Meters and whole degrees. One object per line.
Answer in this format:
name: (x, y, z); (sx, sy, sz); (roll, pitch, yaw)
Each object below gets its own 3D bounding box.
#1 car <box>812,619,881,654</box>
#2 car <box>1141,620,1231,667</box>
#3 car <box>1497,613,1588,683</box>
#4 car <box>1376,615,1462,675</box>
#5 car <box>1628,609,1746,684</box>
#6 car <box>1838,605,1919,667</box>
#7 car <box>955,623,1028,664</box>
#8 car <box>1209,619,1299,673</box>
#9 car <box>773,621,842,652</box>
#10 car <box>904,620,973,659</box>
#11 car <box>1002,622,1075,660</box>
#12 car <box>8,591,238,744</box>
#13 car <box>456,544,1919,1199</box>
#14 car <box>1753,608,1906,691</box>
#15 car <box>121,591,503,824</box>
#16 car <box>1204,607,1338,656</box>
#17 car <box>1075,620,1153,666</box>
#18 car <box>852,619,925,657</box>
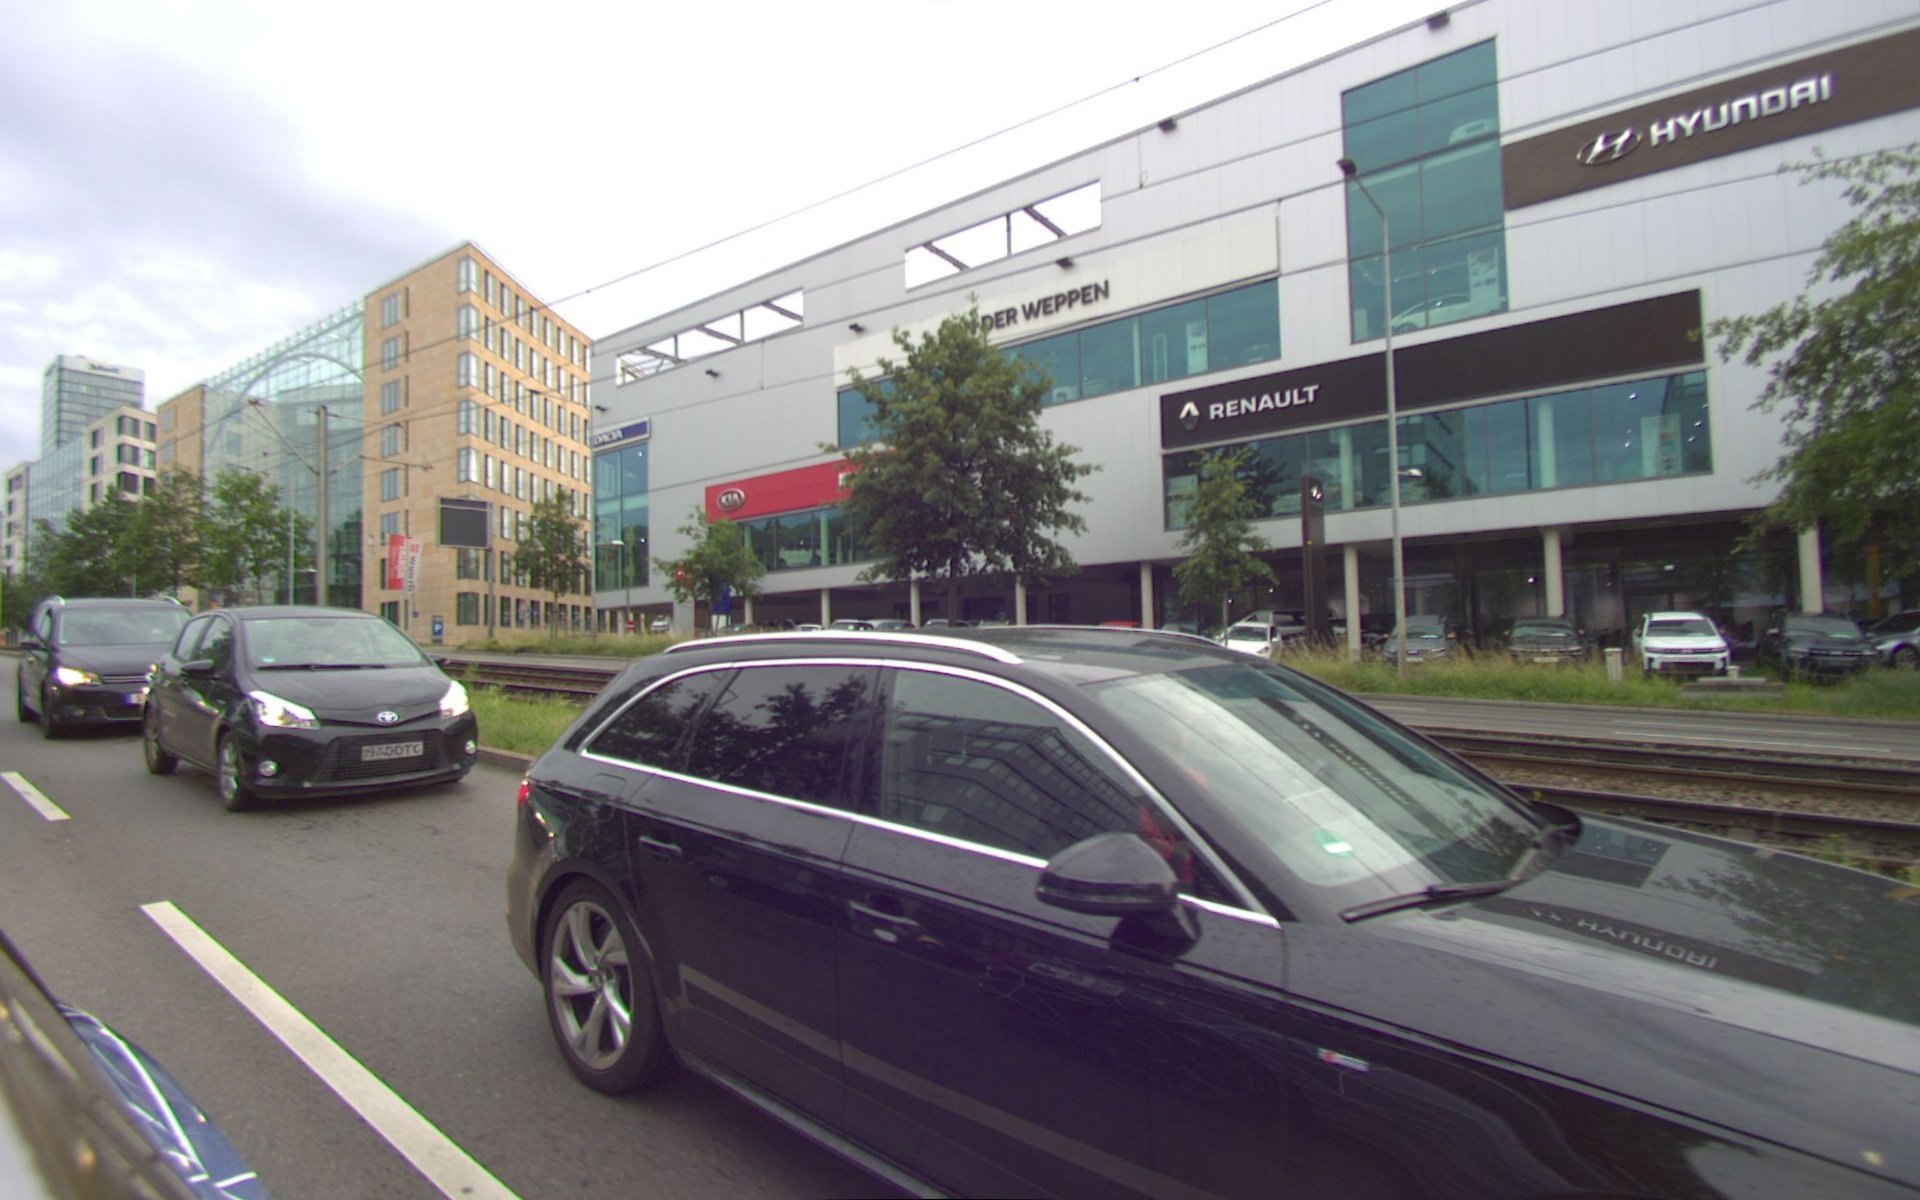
car: (-5.002, 1.605, 44.952); (1.685, 1.304, 3.643); (-1, 1, 18)
car: (7.860, 1.449, 35.016); (1.914, 1.362, 4.005); (-1, 1, 30)
car: (15.836, 1.220, 27.548); (1.992, 1.561, 4.331); (-1, 1, 30)
car: (13.638, 1.262, 29.937); (1.925, 1.470, 3.981); (-1, 1, 30)
car: (18.374, 1.106, 25.769); (1.992, 1.561, 4.331); (-1, 1, 30)
car: (25.511, 0.922, 26.445); (3.538, 1.564, 1.724); (0, -1, 1)
car: (1.285, 1.660, 39.767); (1.689, 1.362, 3.498); (-1, 1, 24)
car: (9.733, 1.451, 33.318); (1.914, 1.470, 4.005); (-1, 1, 30)
car: (-6.991, 1.648, 46.631); (1.685, 1.196, 3.643); (-1, 1, 18)
car: (-0.842, 1.586, 41.701); (1.686, 1.362, 3.503); (-1, 1, 20)
car: (3.033, 1.532, 38.304); (1.689, 1.190, 3.498); (-1, 1, 24)
car: (-10.713, 0.739, 12.838); (4.318, 1.619, 1.762); (-1, -1, 44)
car: (0.500, 0.701, 2.735); (4.511, 1.478, 1.762); (-1, -1, 41)
car: (20.597, 1.095, 24.181); (1.992, 1.627, 4.331); (-1, 1, 30)
car: (-5.629, 0.737, 8.624); (3.823, 1.544, 1.683); (-1, -1, 40)
car: (11.747, 1.173, 38.466); (4.488, 1.796, 1.997); (0, -1, 5)
car: (5.598, 1.496, 36.423); (1.789, 1.362, 3.903); (-1, 1, 24)
car: (-2.997, 1.579, 43.019); (1.688, 1.362, 3.499); (-1, 1, 23)
